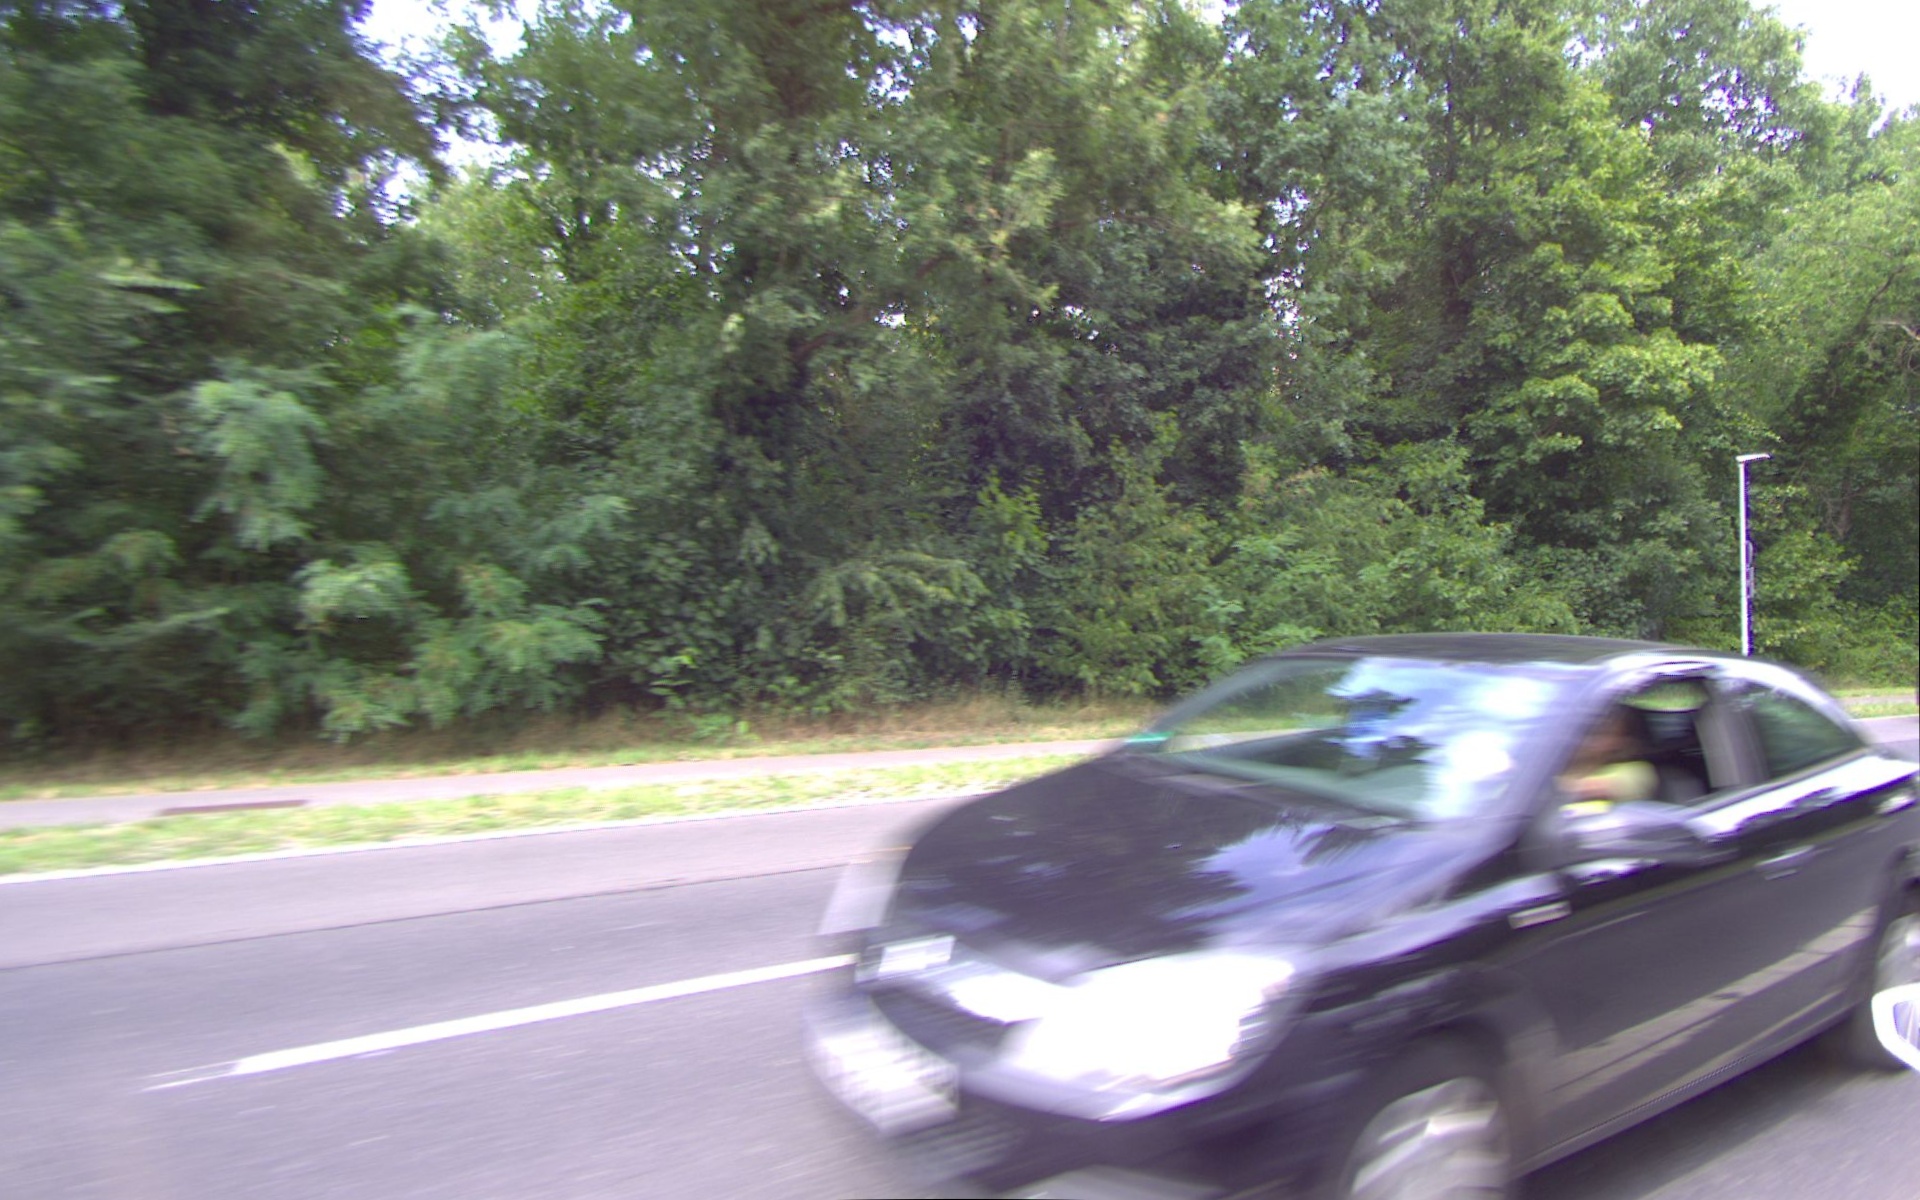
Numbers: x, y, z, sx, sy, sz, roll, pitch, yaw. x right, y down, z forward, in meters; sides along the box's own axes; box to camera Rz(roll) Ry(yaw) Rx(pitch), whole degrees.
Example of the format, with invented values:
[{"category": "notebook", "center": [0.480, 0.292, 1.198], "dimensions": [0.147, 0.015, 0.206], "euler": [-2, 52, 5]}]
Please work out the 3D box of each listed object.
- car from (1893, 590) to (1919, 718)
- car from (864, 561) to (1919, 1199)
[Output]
[{"category": "car", "center": [17.895, 0.952, 16.778], "dimensions": [4.993, 2.040, 1.985], "euler": [2, -2, -29]}, {"category": "car", "center": [1.779, 0.736, 3.392], "dimensions": [3.822, 1.506, 1.648], "euler": [2, 0, -31]}]
